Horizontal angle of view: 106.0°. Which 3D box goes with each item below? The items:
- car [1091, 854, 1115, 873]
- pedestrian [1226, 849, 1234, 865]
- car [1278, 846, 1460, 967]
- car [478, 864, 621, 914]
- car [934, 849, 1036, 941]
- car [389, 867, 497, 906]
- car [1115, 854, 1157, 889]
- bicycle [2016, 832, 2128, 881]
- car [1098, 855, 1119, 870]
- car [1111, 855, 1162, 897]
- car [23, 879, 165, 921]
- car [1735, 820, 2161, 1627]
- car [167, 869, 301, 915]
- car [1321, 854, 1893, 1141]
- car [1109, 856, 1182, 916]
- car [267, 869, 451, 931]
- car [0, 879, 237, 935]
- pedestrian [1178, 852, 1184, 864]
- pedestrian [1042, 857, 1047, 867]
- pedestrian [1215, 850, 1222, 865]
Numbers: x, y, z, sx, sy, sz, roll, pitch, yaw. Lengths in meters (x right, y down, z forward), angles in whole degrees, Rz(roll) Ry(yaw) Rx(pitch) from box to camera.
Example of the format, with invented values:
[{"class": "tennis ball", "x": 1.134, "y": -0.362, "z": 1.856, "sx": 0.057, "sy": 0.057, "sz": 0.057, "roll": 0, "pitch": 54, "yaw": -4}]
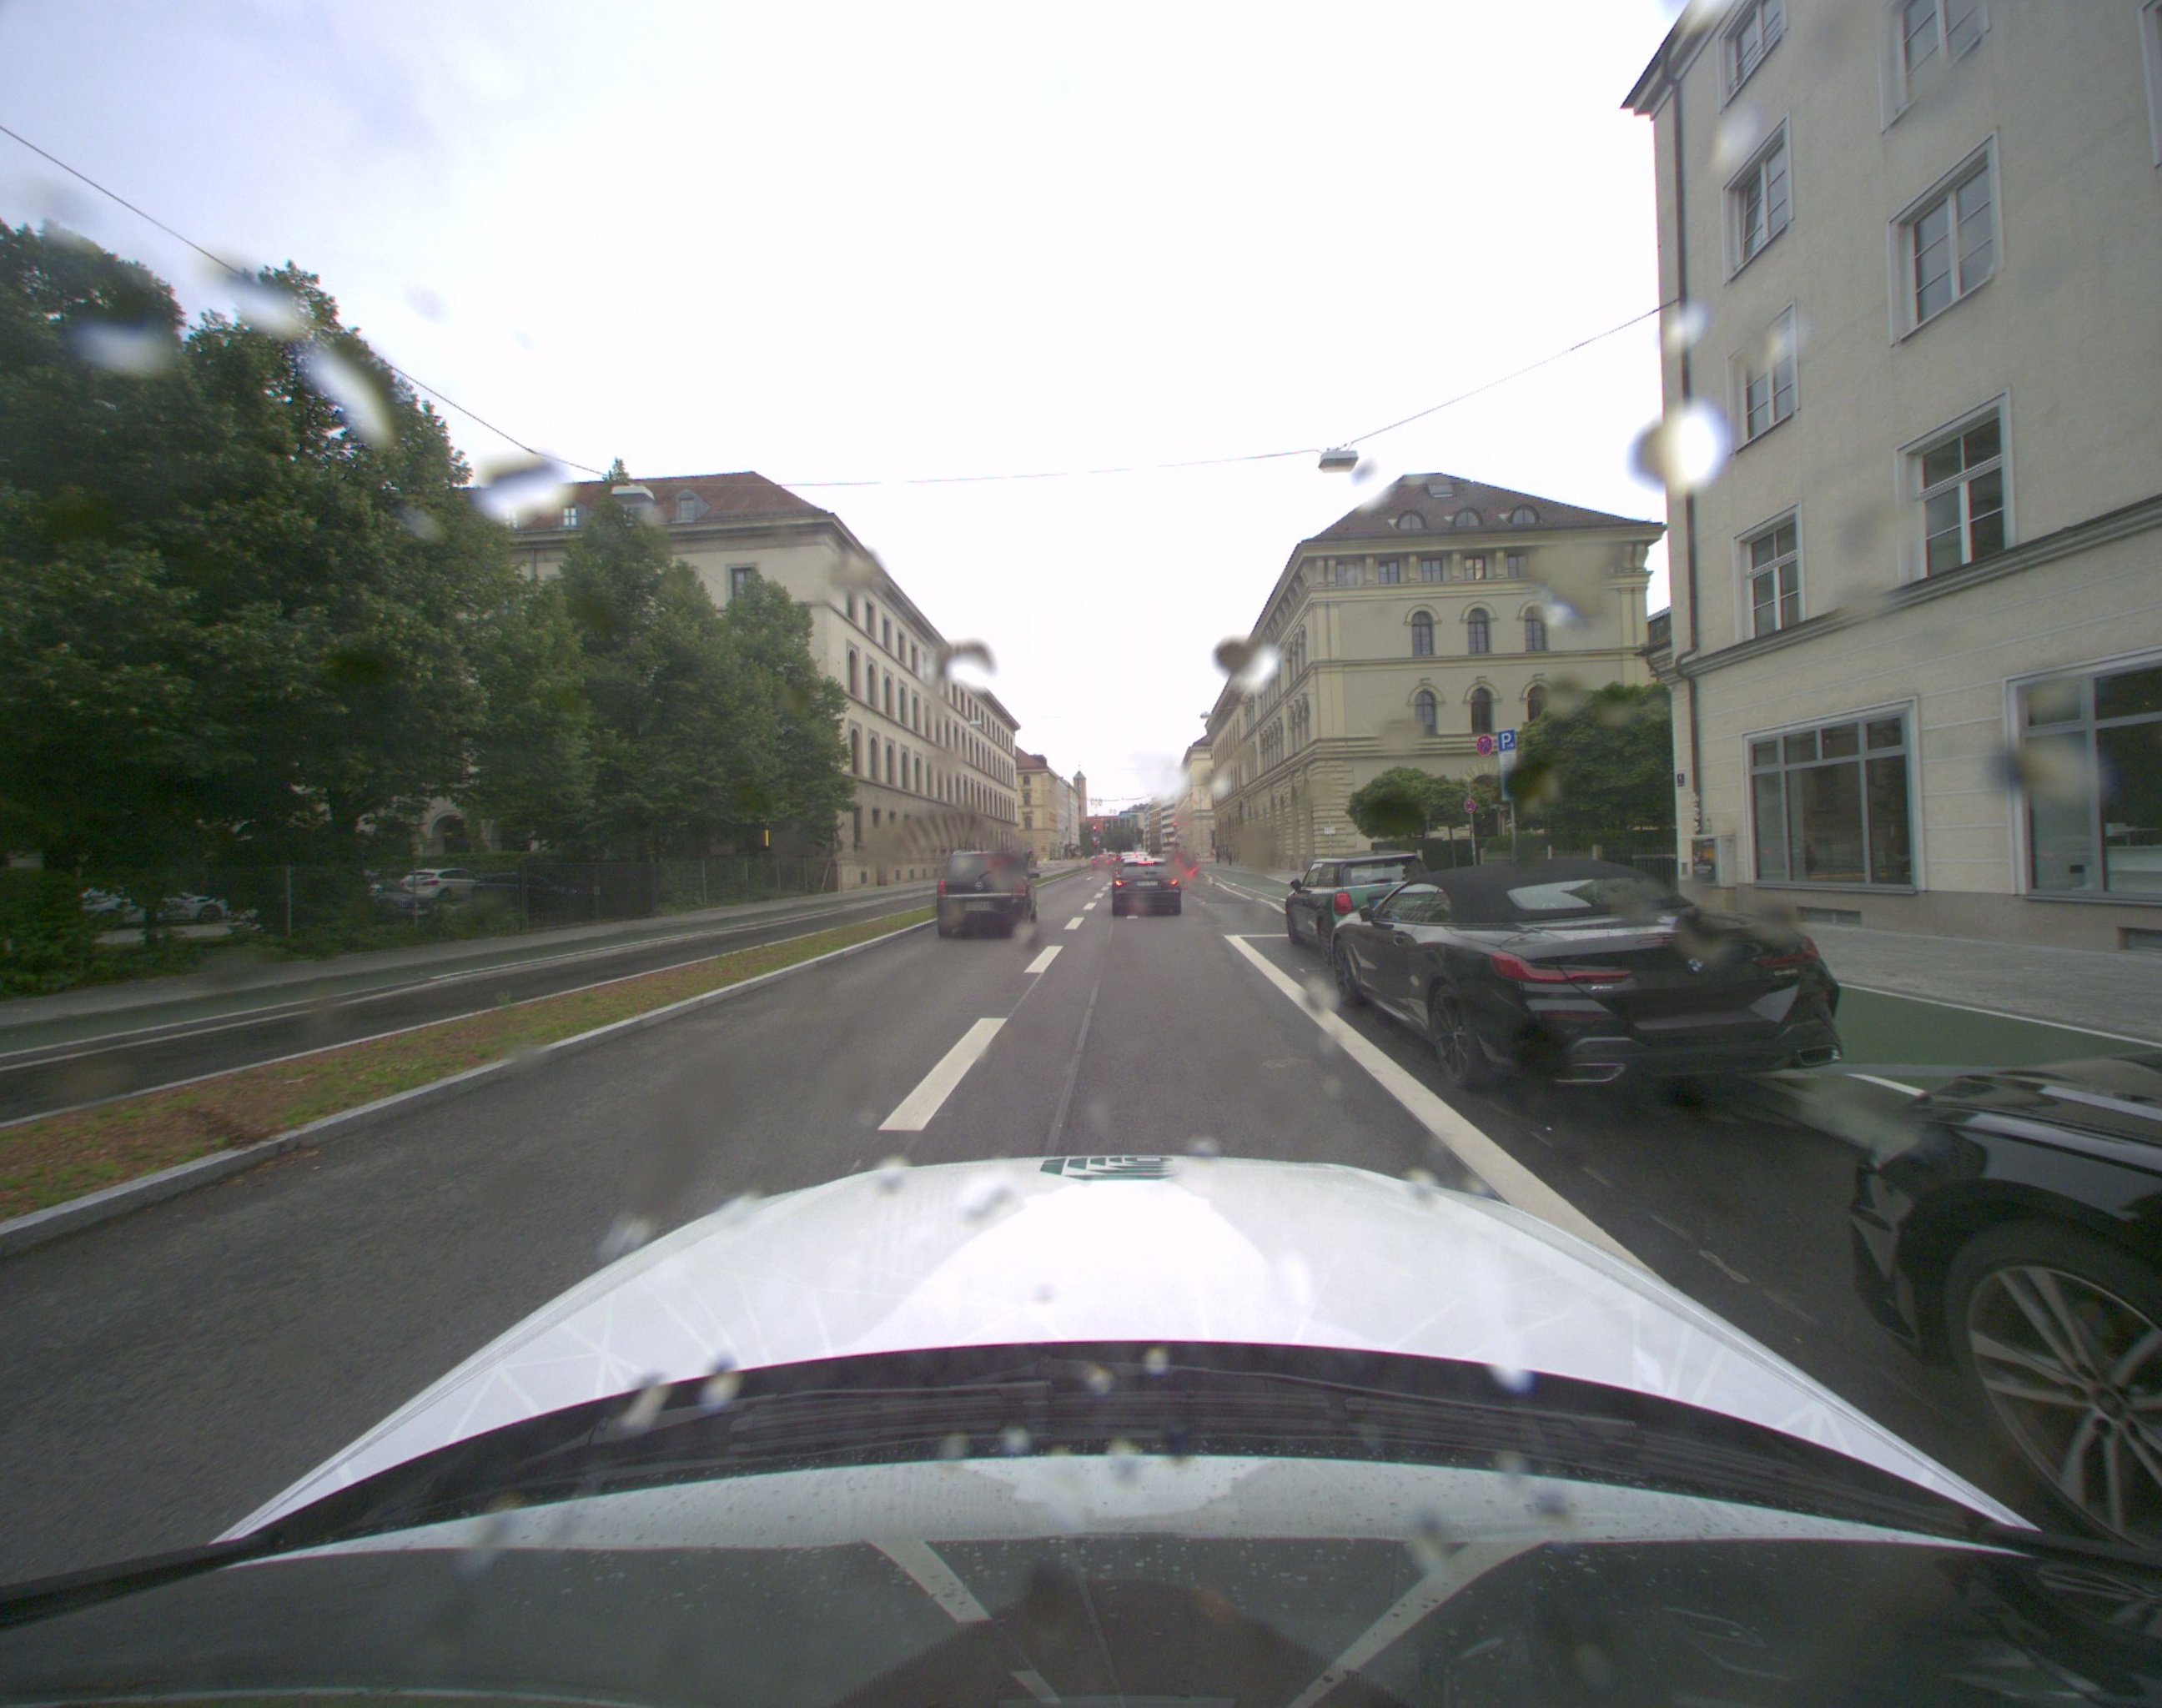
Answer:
[{"class": "car", "x": 2.042, "y": 0.844, "z": 76.033, "sx": 1.984, "sy": 1.627, "sz": 4.005, "roll": -2, "pitch": 0, "yaw": 4}, {"class": "pedestrian", "x": 15.560, "y": 0.325, "z": 85.034, "sx": 0.707, "sy": 1.618, "sz": 0.755, "roll": -2, "pitch": 0, "yaw": 3}, {"class": "car", "x": 4.106, "y": 0.668, "z": 12.227, "sx": 1.667, "sy": 1.521, "sz": 3.835, "roll": -1, "pitch": 0, "yaw": 5}, {"class": "car", "x": -20.149, "y": 1.316, "z": 30.974, "sx": 4.243, "sy": 1.649, "sz": 1.806, "roll": -2, "pitch": 0, "yaw": 3}, {"class": "car", "x": -1.815, "y": 0.725, "z": 16.552, "sx": 1.760, "sy": 1.616, "sz": 4.025, "roll": -1, "pitch": 0, "yaw": -3}, {"class": "car", "x": -29.709, "y": 1.461, "z": 38.092, "sx": 1.657, "sy": 1.640, "sz": 4.004, "roll": -2, "pitch": 0, "yaw": 4}, {"class": "car", "x": 2.457, "y": 0.744, "z": 36.243, "sx": 1.722, "sy": 1.461, "sz": 4.004, "roll": -1, "pitch": 0, "yaw": 4}, {"class": "bicycle", "x": 22.397, "y": 0.047, "z": 18.422, "sx": 1.820, "sy": 1.035, "sz": 0.521, "roll": -2, "pitch": 0, "yaw": 2}, {"class": "car", "x": 2.878, "y": 0.849, "z": 85.798, "sx": 1.984, "sy": 1.444, "sz": 4.005, "roll": -2, "pitch": 0, "yaw": 4}, {"class": "car", "x": 2.047, "y": 0.762, "z": 29.895, "sx": 1.722, "sy": 1.403, "sz": 4.004, "roll": -1, "pitch": 0, "yaw": 4}, {"class": "car", "x": -47.069, "y": 2.130, "z": 38.976, "sx": 1.763, "sy": 1.732, "sz": 4.004, "roll": -2, "pitch": 0, "yaw": 3}, {"class": "car", "x": 2.866, "y": 0.672, "z": 0.217, "sx": 1.802, "sy": 1.480, "sz": 4.464, "roll": -6, "pitch": 0, "yaw": 2}, {"class": "car", "x": -39.786, "y": 1.758, "z": 38.395, "sx": 1.835, "sy": 1.928, "sz": 4.008, "roll": -2, "pitch": 0, "yaw": 7}, {"class": "car", "x": 3.314, "y": 0.721, "z": 6.450, "sx": 1.817, "sy": 1.407, "sz": 4.726, "roll": -1, "pitch": 0, "yaw": 5}, {"class": "car", "x": 1.684, "y": 0.769, "z": 21.495, "sx": 1.722, "sy": 1.403, "sz": 4.004, "roll": -1, "pitch": 0, "yaw": 4}, {"class": "car", "x": -21.011, "y": 1.329, "z": 23.773, "sx": 4.120, "sy": 1.589, "sz": 1.810, "roll": -2, "pitch": 0, "yaw": 10}, {"class": "car", "x": -30.768, "y": 1.631, "z": 26.317, "sx": 1.985, "sy": 1.441, "sz": 4.637, "roll": -2, "pitch": 0, "yaw": 3}, {"class": "pedestrian", "x": 14.244, "y": 0.556, "z": 115.696, "sx": 0.747, "sy": 1.618, "sz": 0.714, "roll": -2, "pitch": 0, "yaw": 12}, {"class": "pedestrian", "x": -6.311, "y": 1.371, "z": 141.473, "sx": 0.653, "sy": 1.805, "sz": 0.728, "roll": -2, "pitch": 0, "yaw": 3}, {"class": "pedestrian", "x": 15.831, "y": 0.391, "z": 93.831, "sx": 0.707, "sy": 1.618, "sz": 0.755, "roll": -2, "pitch": 0, "yaw": 3}]
